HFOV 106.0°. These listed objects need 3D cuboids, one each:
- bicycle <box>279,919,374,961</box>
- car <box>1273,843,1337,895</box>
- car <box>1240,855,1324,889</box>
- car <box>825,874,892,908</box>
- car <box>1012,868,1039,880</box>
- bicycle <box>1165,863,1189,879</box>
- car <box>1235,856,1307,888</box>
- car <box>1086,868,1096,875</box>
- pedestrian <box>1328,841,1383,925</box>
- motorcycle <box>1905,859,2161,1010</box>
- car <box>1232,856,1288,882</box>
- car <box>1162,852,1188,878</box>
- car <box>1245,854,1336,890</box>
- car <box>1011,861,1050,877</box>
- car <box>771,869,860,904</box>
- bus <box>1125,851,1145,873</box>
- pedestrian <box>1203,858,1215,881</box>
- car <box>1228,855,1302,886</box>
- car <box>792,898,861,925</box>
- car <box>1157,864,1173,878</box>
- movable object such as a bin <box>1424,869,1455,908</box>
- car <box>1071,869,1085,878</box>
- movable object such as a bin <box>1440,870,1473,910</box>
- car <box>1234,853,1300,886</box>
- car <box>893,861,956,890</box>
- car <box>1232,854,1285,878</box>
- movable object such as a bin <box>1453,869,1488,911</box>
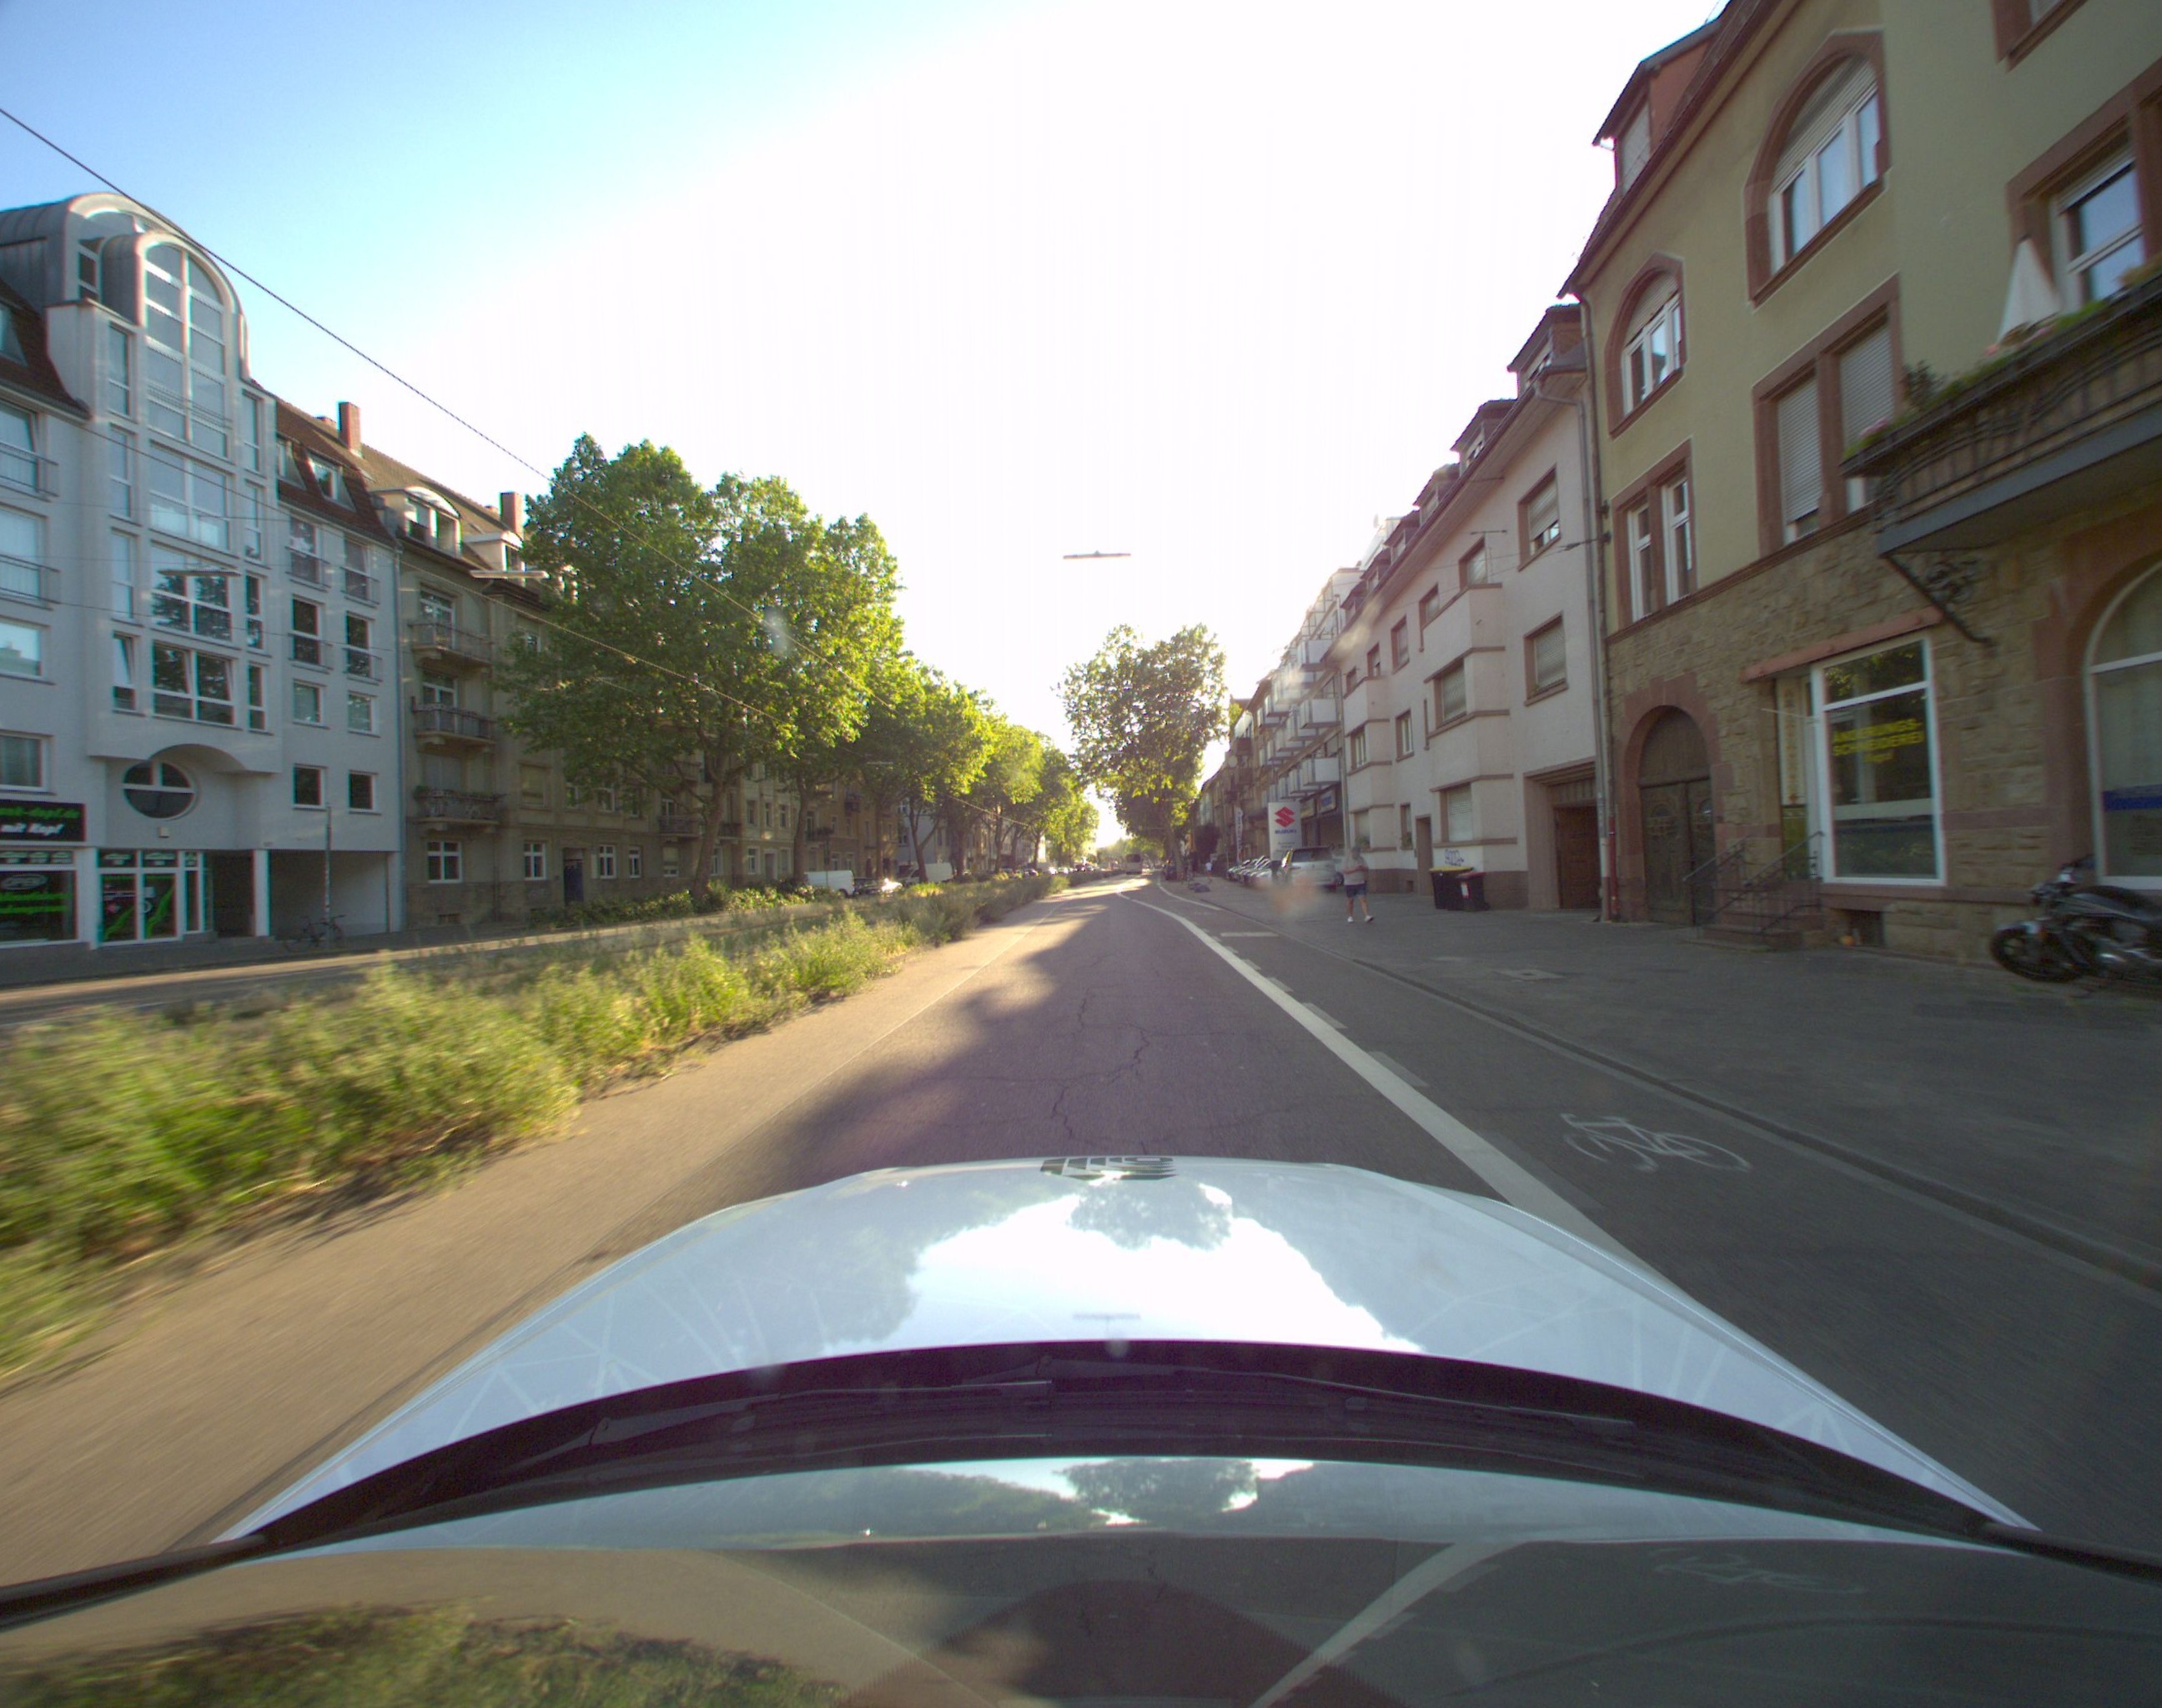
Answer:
[{"bbox_3d":[-22.538,2.552,24.367,0.751,1.033,1.904,3,0,19],"label":"bicycle"},{"bbox_3d":[9.323,0.626,34.222,1.882,1.948,4.911,-3,-2,8],"label":"car"},{"bbox_3d":[10.154,0.890,41.412,3.852,1.514,1.811,-3,0,3],"label":"car"},{"bbox_3d":[-11.437,1.860,42.242,1.708,1.486,4.705,-5,-1,5],"label":"car"},{"bbox_3d":[-9.206,3.302,135.501,4.009,1.699,1.840,-4,-1,-27],"label":"car"},{"bbox_3d":[7.649,1.365,65.050,1.836,1.143,0.348,-3,-2,4],"label":"bicycle"},{"bbox_3d":[10.118,0.955,43.540,3.406,1.525,1.741,-3,-1,1],"label":"car"},{"bbox_3d":[2.322,3.957,182.310,1.781,1.574,4.006,-3,-1,6],"label":"car"},{"bbox_3d":[6.192,0.658,18.449,0.825,1.813,1.151,-3,-2,4],"label":"pedestrian"},{"bbox_3d":[8.500,0.626,6.844,0.587,1.137,2.505,-2,-2,1],"label":"motorcycle"},{"bbox_3d":[11.954,1.006,54.562,3.400,1.519,1.760,-3,-2,7],"label":"car"},{"bbox_3d":[8.469,1.035,73.713,1.985,2.257,5.240,-3,-2,4],"label":"car"},{"bbox_3d":[9.898,0.840,38.704,3.799,1.501,1.913,-2,0,-1],"label":"car"},{"bbox_3d":[-9.413,2.810,151.245,6.952,2.678,2.173,-2,-2,-16],"label":"car"},{"bbox_3d":[-17.514,2.117,53.850,5.271,2.066,1.702,-2,-1,-37],"label":"car"},{"bbox_3d":[8.301,1.308,126.897,2.822,3.236,8.187,-3,-2,3],"label":"bus"},{"bbox_3d":[9.163,1.128,58.264,0.660,1.629,0.924,-3,-2,5],"label":"pedestrian"},{"bbox_3d":[10.329,0.940,45.895,3.803,1.541,1.860,-3,-1,3],"label":"car"},{"bbox_3d":[-17.520,3.929,56.095,4.196,1.491,1.702,-2,-1,-37],"label":"car"},{"bbox_3d":[11.779,2.379,114.089,1.733,1.770,4.408,-3,-2,12],"label":"car"},{"bbox_3d":[9.187,0.880,20.890,0.551,0.969,0.586,-3,-2,7],"label":"movable object such as a bin"},{"bbox_3d":[-0.540,3.666,154.412,1.857,1.694,4.790,-3,-2,10],"label":"car"},{"bbox_3d":[9.265,0.882,20.118,0.551,0.969,0.586,-3,-2,7],"label":"movable object such as a bin"},{"bbox_3d":[10.894,0.910,47.875,3.562,1.720,1.685,-3,0,7],"label":"car"},{"bbox_3d":[-15.123,2.102,78.978,5.534,2.529,2.102,-2,-1,-37],"label":"car"},{"bbox_3d":[12.439,0.850,57.092,3.404,1.546,1.443,-3,-2,2],"label":"car"},{"bbox_3d":[9.297,0.854,19.461,0.551,0.969,0.586,-3,-2,7],"label":"movable object such as a bin"}]
